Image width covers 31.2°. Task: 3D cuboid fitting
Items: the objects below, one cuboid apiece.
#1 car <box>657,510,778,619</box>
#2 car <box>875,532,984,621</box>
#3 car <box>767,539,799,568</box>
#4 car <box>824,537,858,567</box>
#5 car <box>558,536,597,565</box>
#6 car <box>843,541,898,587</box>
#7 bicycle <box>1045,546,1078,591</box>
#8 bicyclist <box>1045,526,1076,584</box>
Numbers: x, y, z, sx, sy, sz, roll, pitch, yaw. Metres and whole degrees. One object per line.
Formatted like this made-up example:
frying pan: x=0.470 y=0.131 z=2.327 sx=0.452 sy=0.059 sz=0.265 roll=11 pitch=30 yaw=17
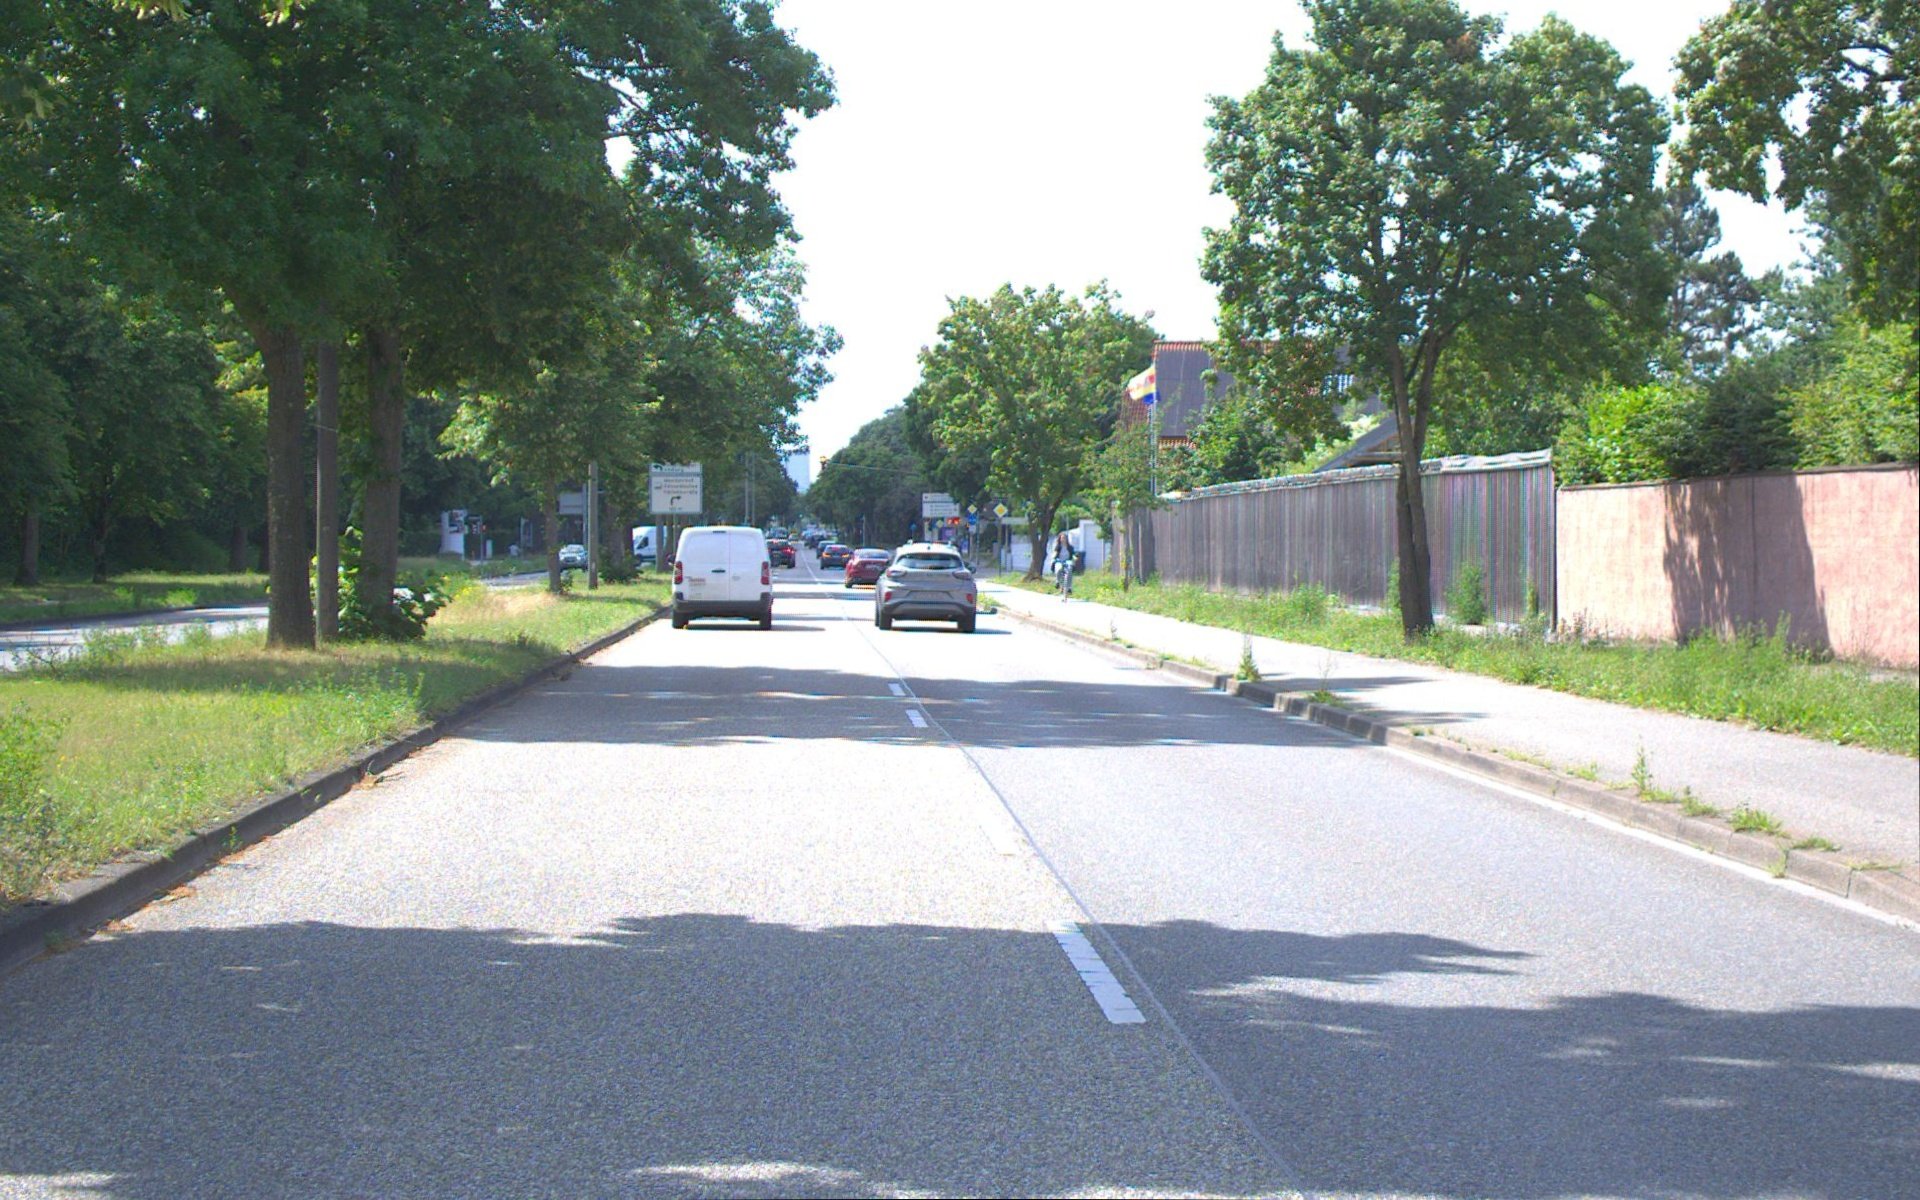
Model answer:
car: x=-4.396 y=-0.679 z=62.821 sx=2.065 sy=1.905 sz=4.647 roll=0 pitch=1 yaw=-3
car: x=-0.600 y=-0.461 z=63.678 sx=1.875 sy=1.583 sz=4.185 roll=0 pitch=1 yaw=-2
car: x=-10.857 y=-2.875 z=210.839 sx=1.941 sy=1.761 sz=4.147 roll=0 pitch=1 yaw=-2
car: x=-7.264 y=-2.937 z=209.730 sx=1.993 sy=1.766 sz=4.147 roll=2 pitch=1 yaw=-3
car: x=-22.768 y=-2.953 z=204.768 sx=1.993 sy=1.700 sz=4.194 roll=0 pitch=1 yaw=-2
car: x=-3.218 y=-1.312 z=123.479 sx=1.880 sy=1.581 sz=4.001 roll=0 pitch=1 yaw=-3
bicycle: x=2.494 y=-0.780 z=84.951 sx=0.646 sy=1.064 sz=2.278 roll=-2 pitch=1 yaw=-2
bicyclist: x=2.484 y=-1.116 z=84.875 sx=0.654 sy=1.407 sz=0.986 roll=-2 pitch=1 yaw=-2
